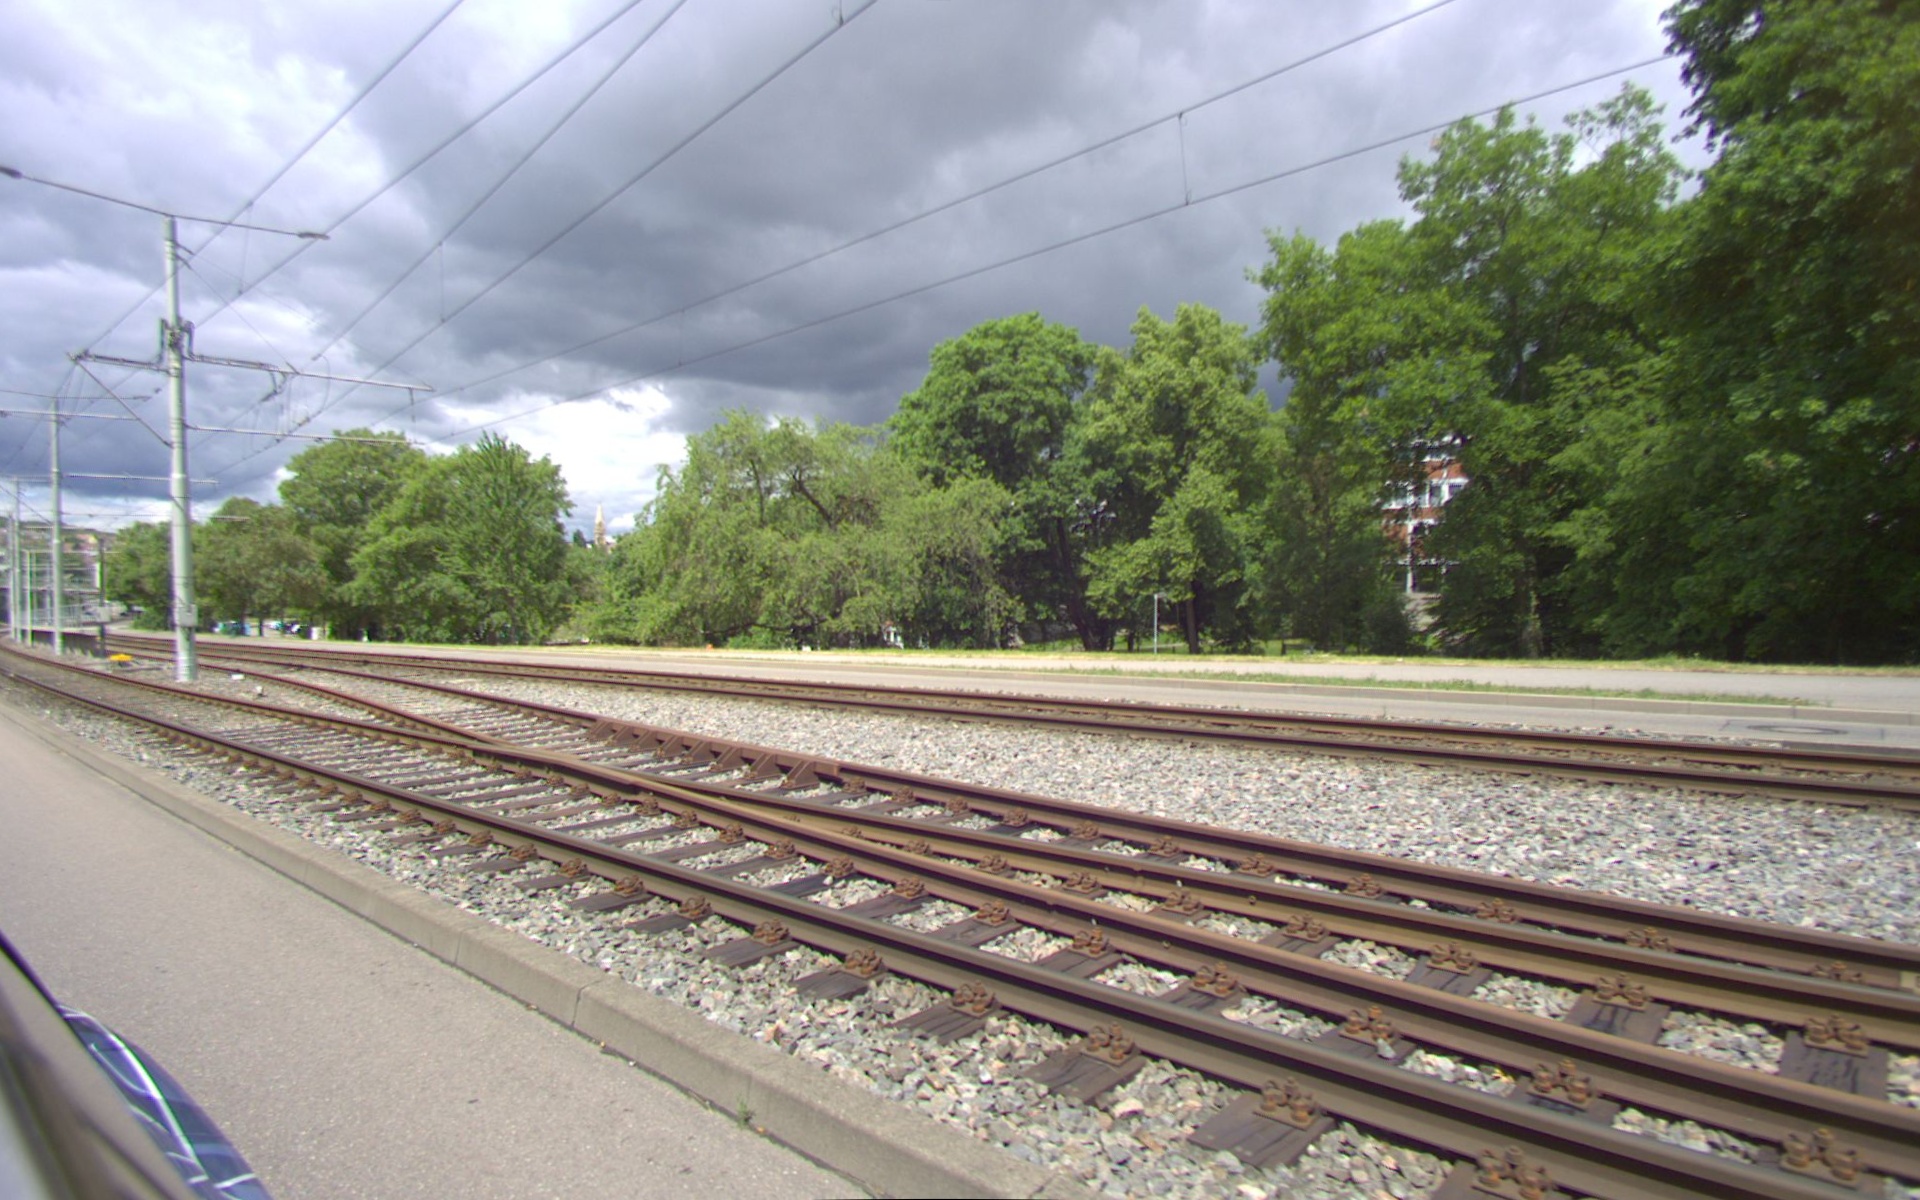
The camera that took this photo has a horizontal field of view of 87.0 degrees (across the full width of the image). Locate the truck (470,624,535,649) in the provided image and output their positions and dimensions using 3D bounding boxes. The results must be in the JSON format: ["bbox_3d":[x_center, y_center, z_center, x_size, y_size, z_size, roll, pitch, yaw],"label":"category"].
[{"bbox_3d":[-54.576,4.342,120.762,6.522,2.877,2.683,2,-3,-42],"label":"truck"}]
